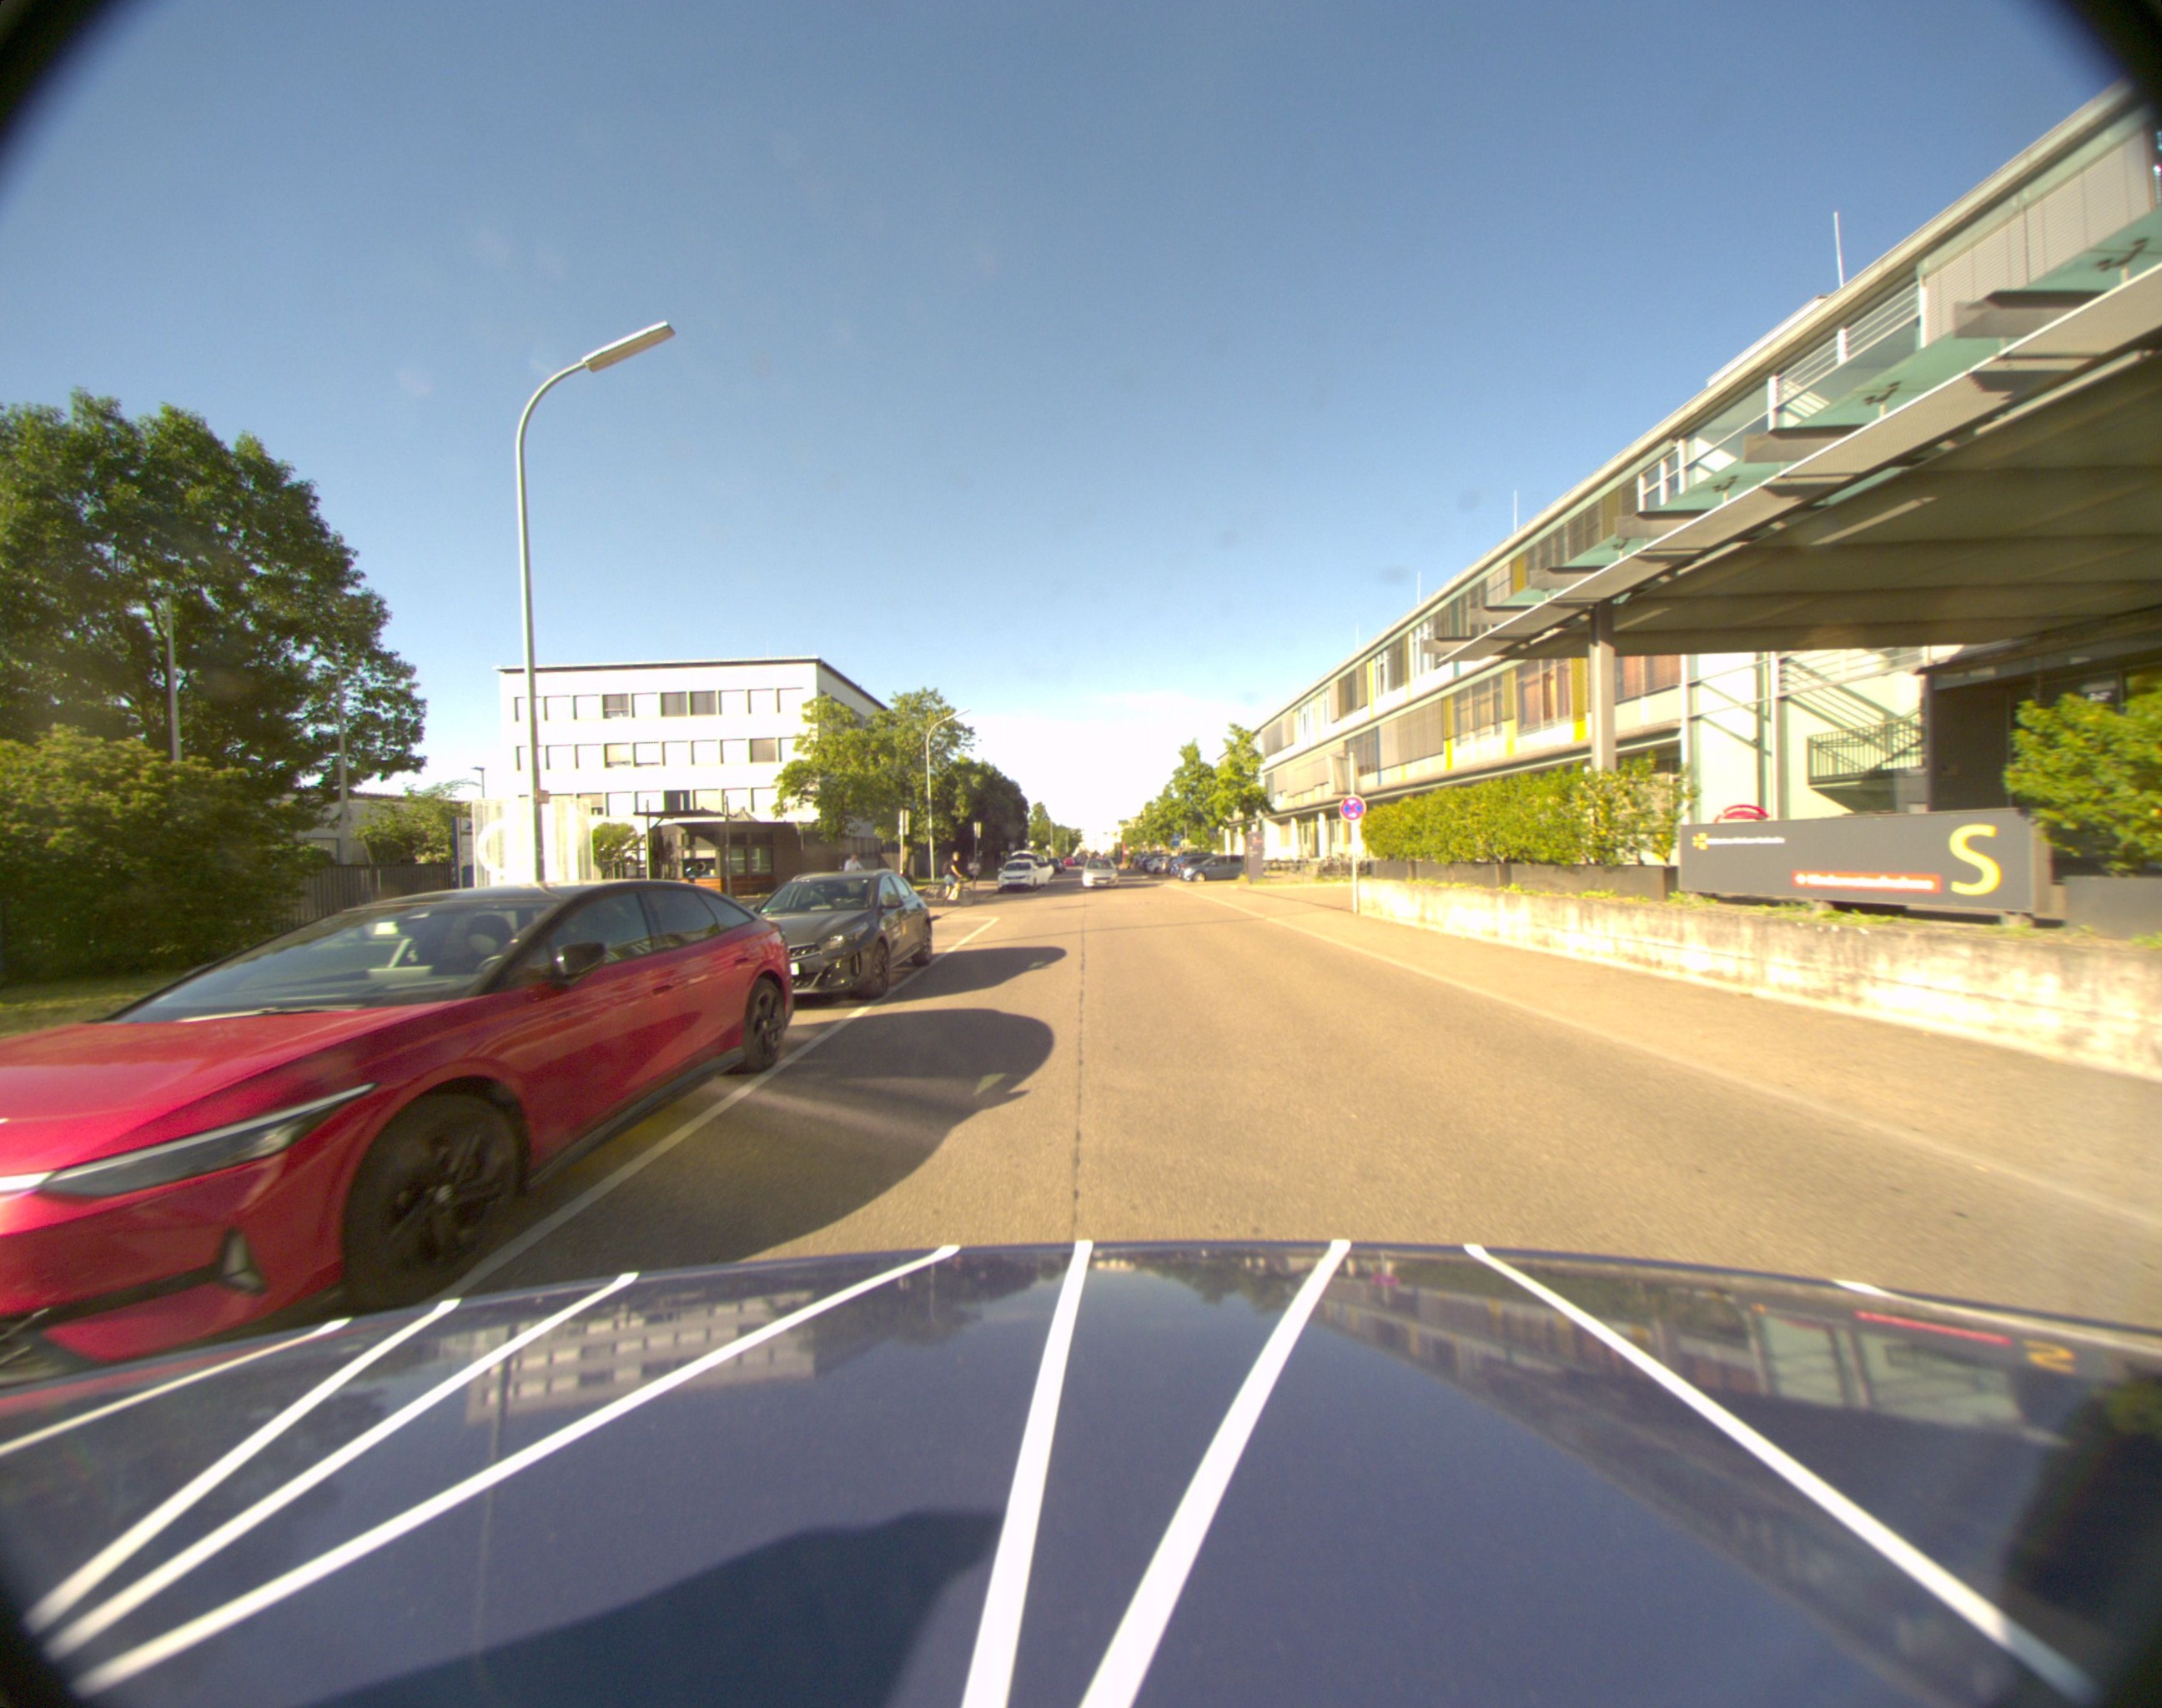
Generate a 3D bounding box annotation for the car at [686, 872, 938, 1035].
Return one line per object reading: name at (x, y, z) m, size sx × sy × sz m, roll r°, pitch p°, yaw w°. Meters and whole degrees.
car at (-3.149, 1.064, 9.884) m, size 1.705 × 1.478 × 4.215 m, roll -3°, pitch 0°, yaw 0°

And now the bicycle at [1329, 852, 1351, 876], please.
bicycle at (13.244, 0.528, 38.859) m, size 0.353 × 1.040 × 1.653 m, roll -1°, pitch -8°, yaw -5°

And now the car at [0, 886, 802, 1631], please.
car at (-3.309, 1.068, 4.080) m, size 1.813 × 1.501 × 4.722 m, roll -3°, pitch 0°, yaw 0°

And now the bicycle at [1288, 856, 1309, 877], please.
bicycle at (12.102, 0.704, 42.350) m, size 0.637 × 1.136 × 1.779 m, roll -1°, pitch 0°, yaw 0°

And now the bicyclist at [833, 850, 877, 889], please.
bicyclist at (-7.587, 0.518, 25.536) m, size 1.098 × 1.261 × 0.863 m, roll -2°, pitch 0°, yaw 16°

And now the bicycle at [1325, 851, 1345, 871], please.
bicycle at (16.286, 0.436, 48.687) m, size 0.648 × 1.192 × 1.855 m, roll -1°, pitch 0°, yaw 0°

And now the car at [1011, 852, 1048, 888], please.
car at (-2.852, 0.864, 43.253) m, size 1.869 × 1.859 × 5.021 m, roll -3°, pitch 0°, yaw -2°

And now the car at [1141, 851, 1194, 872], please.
car at (7.817, 0.653, 68.854) m, size 4.360 × 1.618 × 1.999 m, roll -3°, pitch 1°, yaw -3°

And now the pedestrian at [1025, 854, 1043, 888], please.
pedestrian at (-2.477, 0.882, 39.902) m, size 0.589 × 1.735 × 0.706 m, roll -3°, pitch 1°, yaw 19°

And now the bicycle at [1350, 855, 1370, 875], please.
bicycle at (15.673, 0.603, 42.741) m, size 0.448 × 1.129 × 1.855 m, roll -1°, pitch 0°, yaw 0°

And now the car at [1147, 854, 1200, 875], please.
car at (7.632, 0.855, 63.130) m, size 4.101 × 1.414 × 1.823 m, roll -3°, pitch 1°, yaw -1°

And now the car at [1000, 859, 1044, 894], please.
car at (-2.867, 1.040, 37.383) m, size 1.668 × 1.505 × 4.114 m, roll -3°, pitch 0°, yaw 1°

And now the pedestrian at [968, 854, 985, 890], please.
pedestrian at (-4.986, 0.850, 36.341) m, size 0.693 × 1.718 × 0.775 m, roll 0°, pitch 1°, yaw 0°

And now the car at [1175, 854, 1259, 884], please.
car at (7.304, 0.798, 41.014) m, size 4.142 × 1.458 × 1.753 m, roll -2°, pitch 0°, yaw -1°

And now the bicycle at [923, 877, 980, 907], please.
bicycle at (-4.532, 1.333, 26.640) m, size 1.884 × 1.002 × 0.701 m, roll 2°, pitch -1°, yaw -3°

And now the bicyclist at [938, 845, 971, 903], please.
bicyclist at (-4.430, 0.686, 26.679) m, size 1.052 × 2.001 × 0.959 m, roll 0°, pitch 0°, yaw -4°

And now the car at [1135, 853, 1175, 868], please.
car at (8.190, 0.708, 84.329) m, size 4.357 × 1.452 × 2.001 m, roll -3°, pitch 0°, yaw 6°

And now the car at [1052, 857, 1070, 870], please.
car at (-2.371, 1.104, 91.228) m, size 1.824 × 1.435 × 4.294 m, roll -3°, pitch 0°, yaw 1°

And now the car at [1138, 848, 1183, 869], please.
car at (8.233, 0.439, 78.820) m, size 4.358 × 1.852 × 2.000 m, roll -3°, pitch 0°, yaw 2°

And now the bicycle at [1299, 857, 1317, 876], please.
bicycle at (12.644, 0.689, 42.341) m, size 0.428 × 1.009 × 1.779 m, roll -1°, pitch 0°, yaw 0°

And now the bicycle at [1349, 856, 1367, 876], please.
bicycle at (14.556, 0.634, 39.952) m, size 0.353 × 1.016 × 1.396 m, roll -1°, pitch 0°, yaw -5°

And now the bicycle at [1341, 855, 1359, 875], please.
bicycle at (14.131, 0.576, 39.924) m, size 0.353 × 1.016 × 1.396 m, roll -1°, pitch 0°, yaw -5°

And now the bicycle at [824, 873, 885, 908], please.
bicycle at (-7.608, 1.198, 25.498) m, size 1.899 × 1.136 × 0.668 m, roll 0°, pitch 0°, yaw 16°

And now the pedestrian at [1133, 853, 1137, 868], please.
pedestrian at (6.741, 0.805, 94.431) m, size 0.369 × 1.712 × 0.479 m, roll -3°, pitch 5°, yaw -3°

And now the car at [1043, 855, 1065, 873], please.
car at (-2.625, 0.985, 74.791) m, size 1.890 × 1.616 × 4.294 m, roll -3°, pitch 0°, yaw 1°

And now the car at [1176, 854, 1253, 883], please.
car at (7.600, 0.805, 43.514) m, size 3.998 × 1.429 × 1.731 m, roll -2°, pitch 0°, yaw -2°

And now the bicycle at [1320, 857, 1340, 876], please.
bicycle at (13.685, 0.665, 41.790) m, size 0.448 × 1.009 × 1.779 m, roll -1°, pitch 0°, yaw 0°

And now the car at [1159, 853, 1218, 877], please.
car at (7.884, 0.780, 56.048) m, size 3.991 × 1.480 × 1.823 m, roll -3°, pitch 1°, yaw -1°

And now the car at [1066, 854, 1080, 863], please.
car at (-1.370, 0.745, 123.026) m, size 1.999 × 1.382 × 3.998 m, roll 0°, pitch 0°, yaw -4°

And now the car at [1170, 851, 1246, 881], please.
car at (7.658, 0.718, 46.127) m, size 4.232 × 1.642 × 1.960 m, roll -2°, pitch 0°, yaw -2°

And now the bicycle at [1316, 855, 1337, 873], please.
bicycle at (15.012, 0.595, 46.510) m, size 0.648 × 1.089 × 1.855 m, roll -1°, pitch 0°, yaw 0°

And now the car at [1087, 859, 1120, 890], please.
car at (1.112, 0.967, 36.959) m, size 1.551 × 1.389 × 3.455 m, roll 0°, pitch 0°, yaw 2°

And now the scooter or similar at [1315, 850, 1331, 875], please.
scooter or similar at (12.265, 0.426, 38.533) m, size 0.471 × 1.266 × 1.205 m, roll -1°, pitch 0°, yaw 2°
